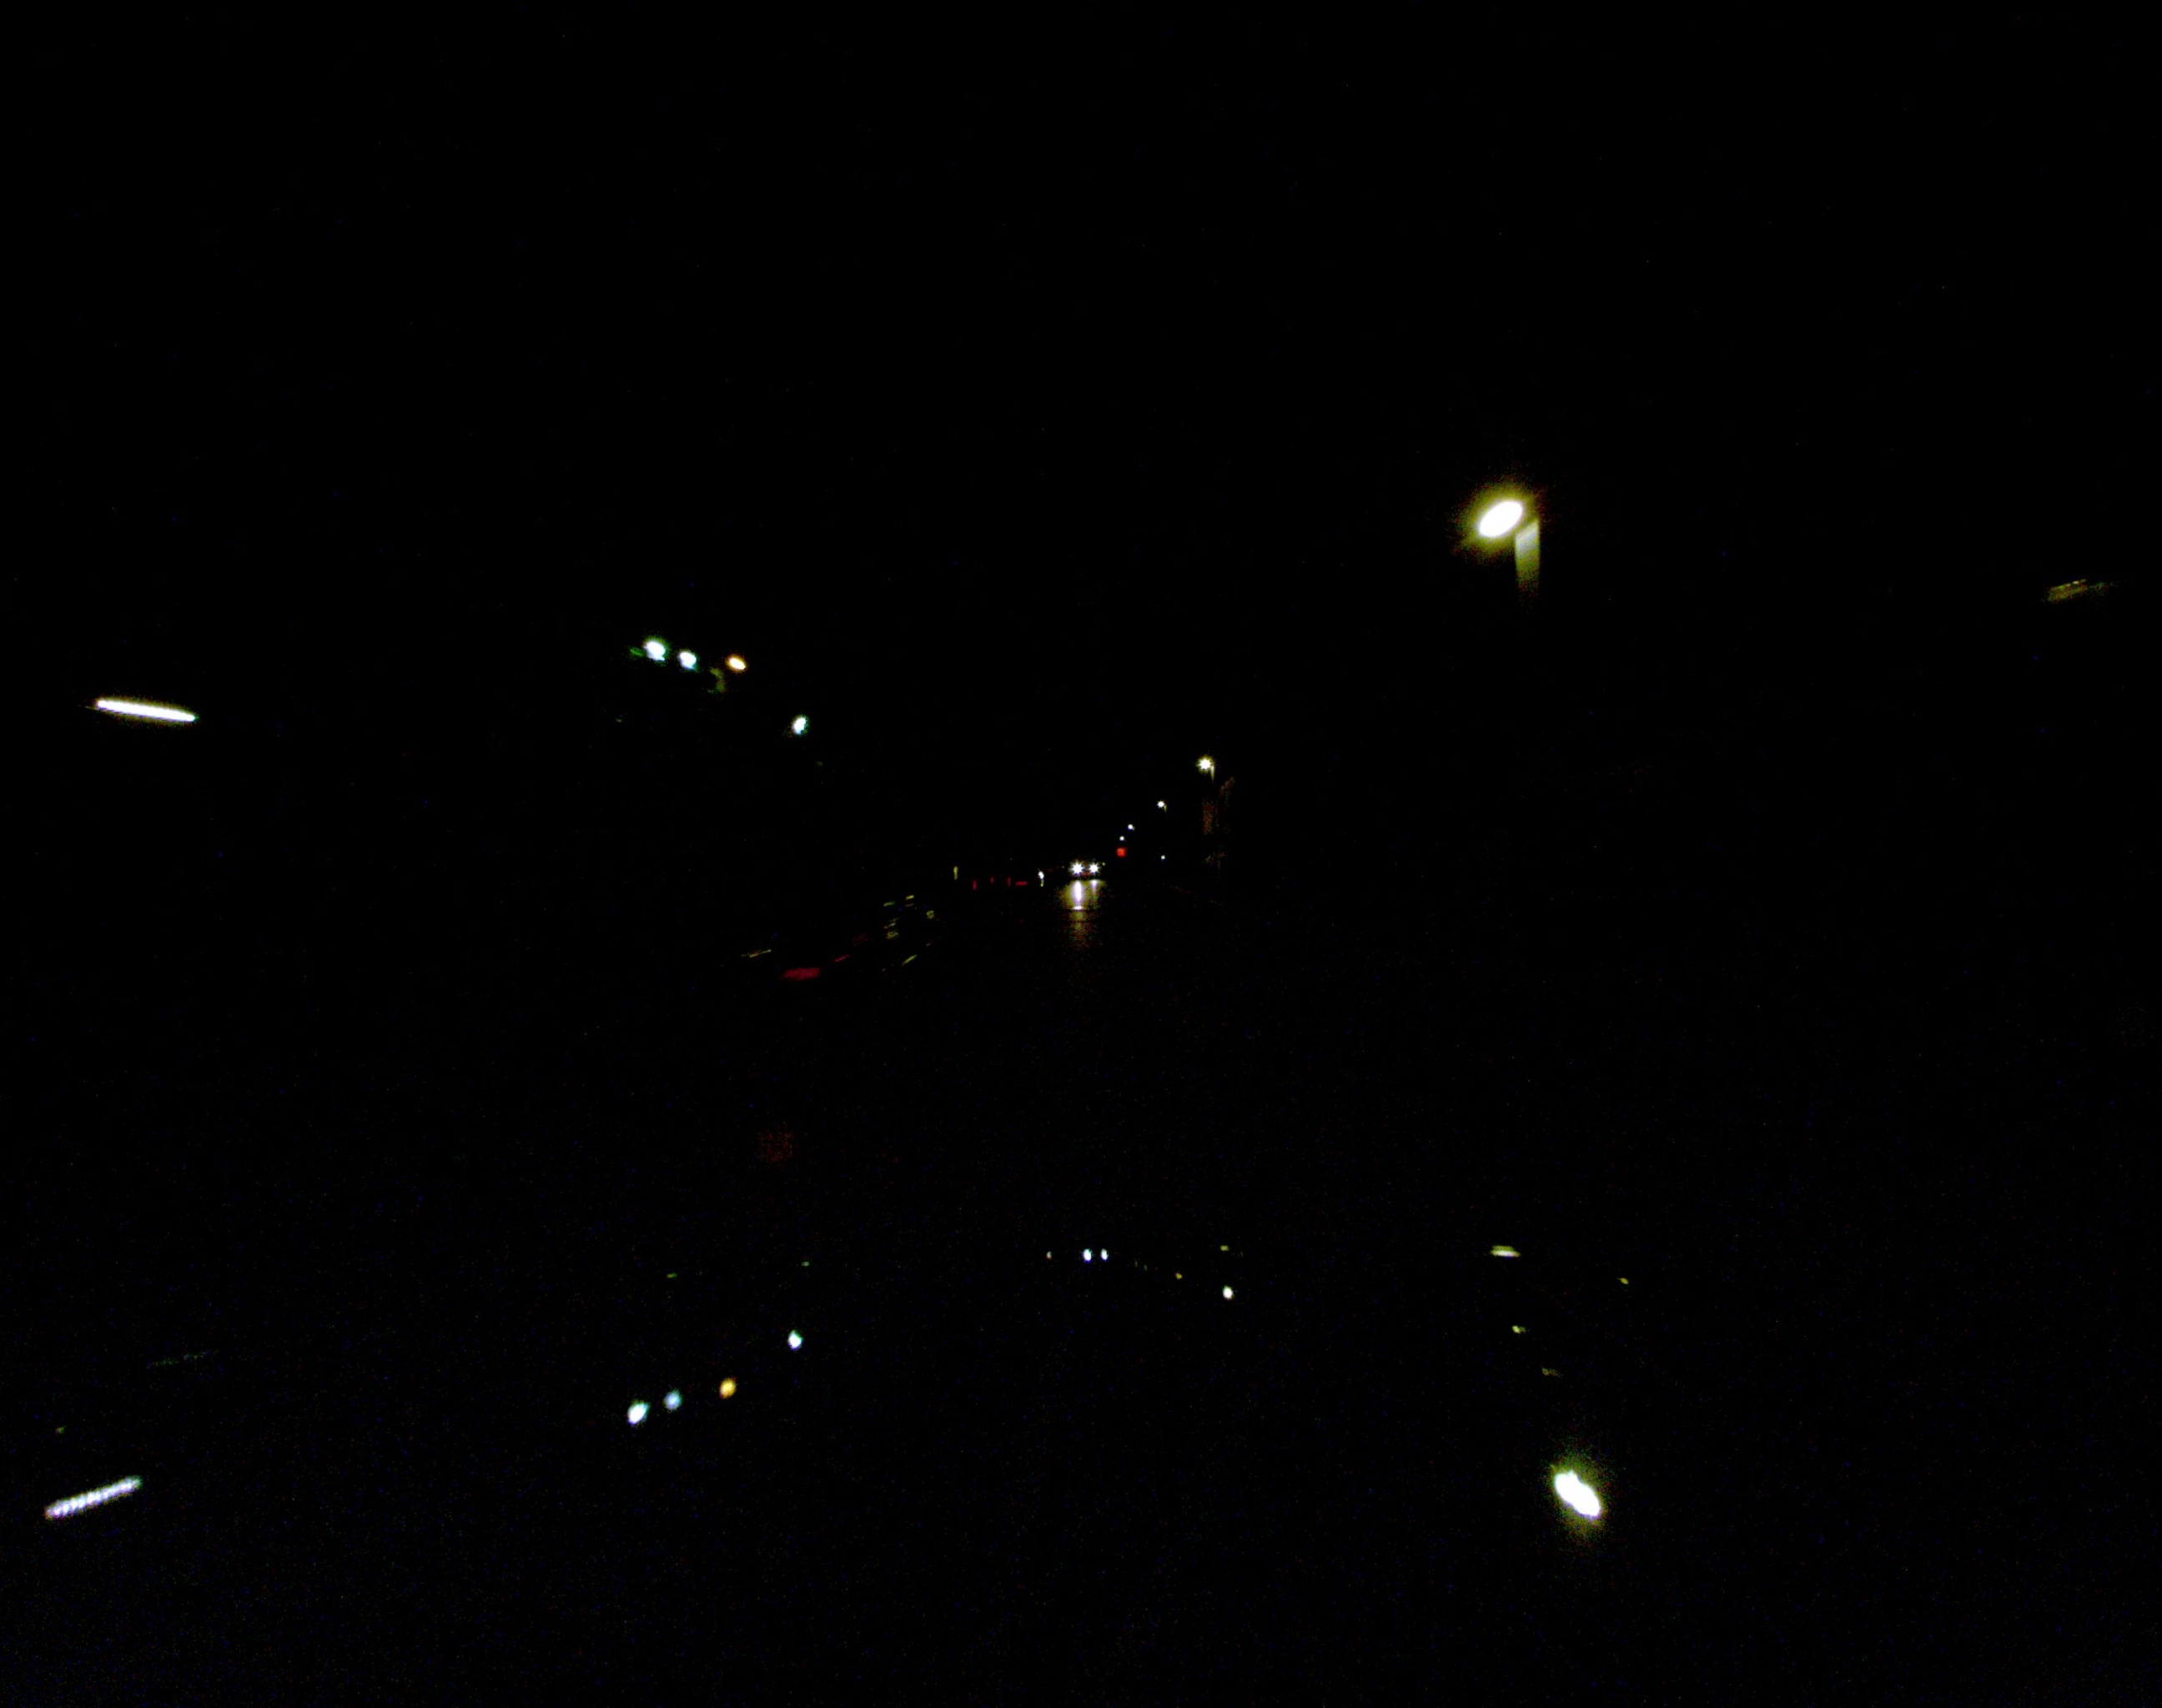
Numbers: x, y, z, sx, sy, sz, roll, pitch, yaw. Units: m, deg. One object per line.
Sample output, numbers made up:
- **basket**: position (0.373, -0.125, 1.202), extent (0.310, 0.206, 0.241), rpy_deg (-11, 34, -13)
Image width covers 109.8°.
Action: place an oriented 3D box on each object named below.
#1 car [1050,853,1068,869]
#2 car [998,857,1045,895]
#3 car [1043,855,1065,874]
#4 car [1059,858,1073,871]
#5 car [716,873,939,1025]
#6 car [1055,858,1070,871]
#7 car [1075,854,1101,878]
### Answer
- **car**: position (-2.169, 0.652, 75.683), extent (1.702, 1.447, 3.713), rpy_deg (-2, 0, 0)
- **car**: position (-2.491, 0.902, 32.725), extent (1.702, 1.447, 3.713), rpy_deg (-2, 0, 0)
- **car**: position (-2.186, 0.830, 62.569), extent (1.702, 1.447, 3.713), rpy_deg (-2, 0, 0)
- **car**: position (-1.883, 1.300, 95.035), extent (1.702, 1.447, 3.713), rpy_deg (-2, 0, 0)
- **car**: position (-3.009, 1.048, 9.797), extent (1.656, 1.465, 3.517), rpy_deg (-2, 0, 0)
- **car**: position (-2.182, 1.280, 90.870), extent (1.702, 1.447, 3.713), rpy_deg (-2, 0, 0)
- **car**: position (0.426, 0.789, 50.924), extent (1.627, 1.495, 3.550), rpy_deg (-2, 0, 0)
